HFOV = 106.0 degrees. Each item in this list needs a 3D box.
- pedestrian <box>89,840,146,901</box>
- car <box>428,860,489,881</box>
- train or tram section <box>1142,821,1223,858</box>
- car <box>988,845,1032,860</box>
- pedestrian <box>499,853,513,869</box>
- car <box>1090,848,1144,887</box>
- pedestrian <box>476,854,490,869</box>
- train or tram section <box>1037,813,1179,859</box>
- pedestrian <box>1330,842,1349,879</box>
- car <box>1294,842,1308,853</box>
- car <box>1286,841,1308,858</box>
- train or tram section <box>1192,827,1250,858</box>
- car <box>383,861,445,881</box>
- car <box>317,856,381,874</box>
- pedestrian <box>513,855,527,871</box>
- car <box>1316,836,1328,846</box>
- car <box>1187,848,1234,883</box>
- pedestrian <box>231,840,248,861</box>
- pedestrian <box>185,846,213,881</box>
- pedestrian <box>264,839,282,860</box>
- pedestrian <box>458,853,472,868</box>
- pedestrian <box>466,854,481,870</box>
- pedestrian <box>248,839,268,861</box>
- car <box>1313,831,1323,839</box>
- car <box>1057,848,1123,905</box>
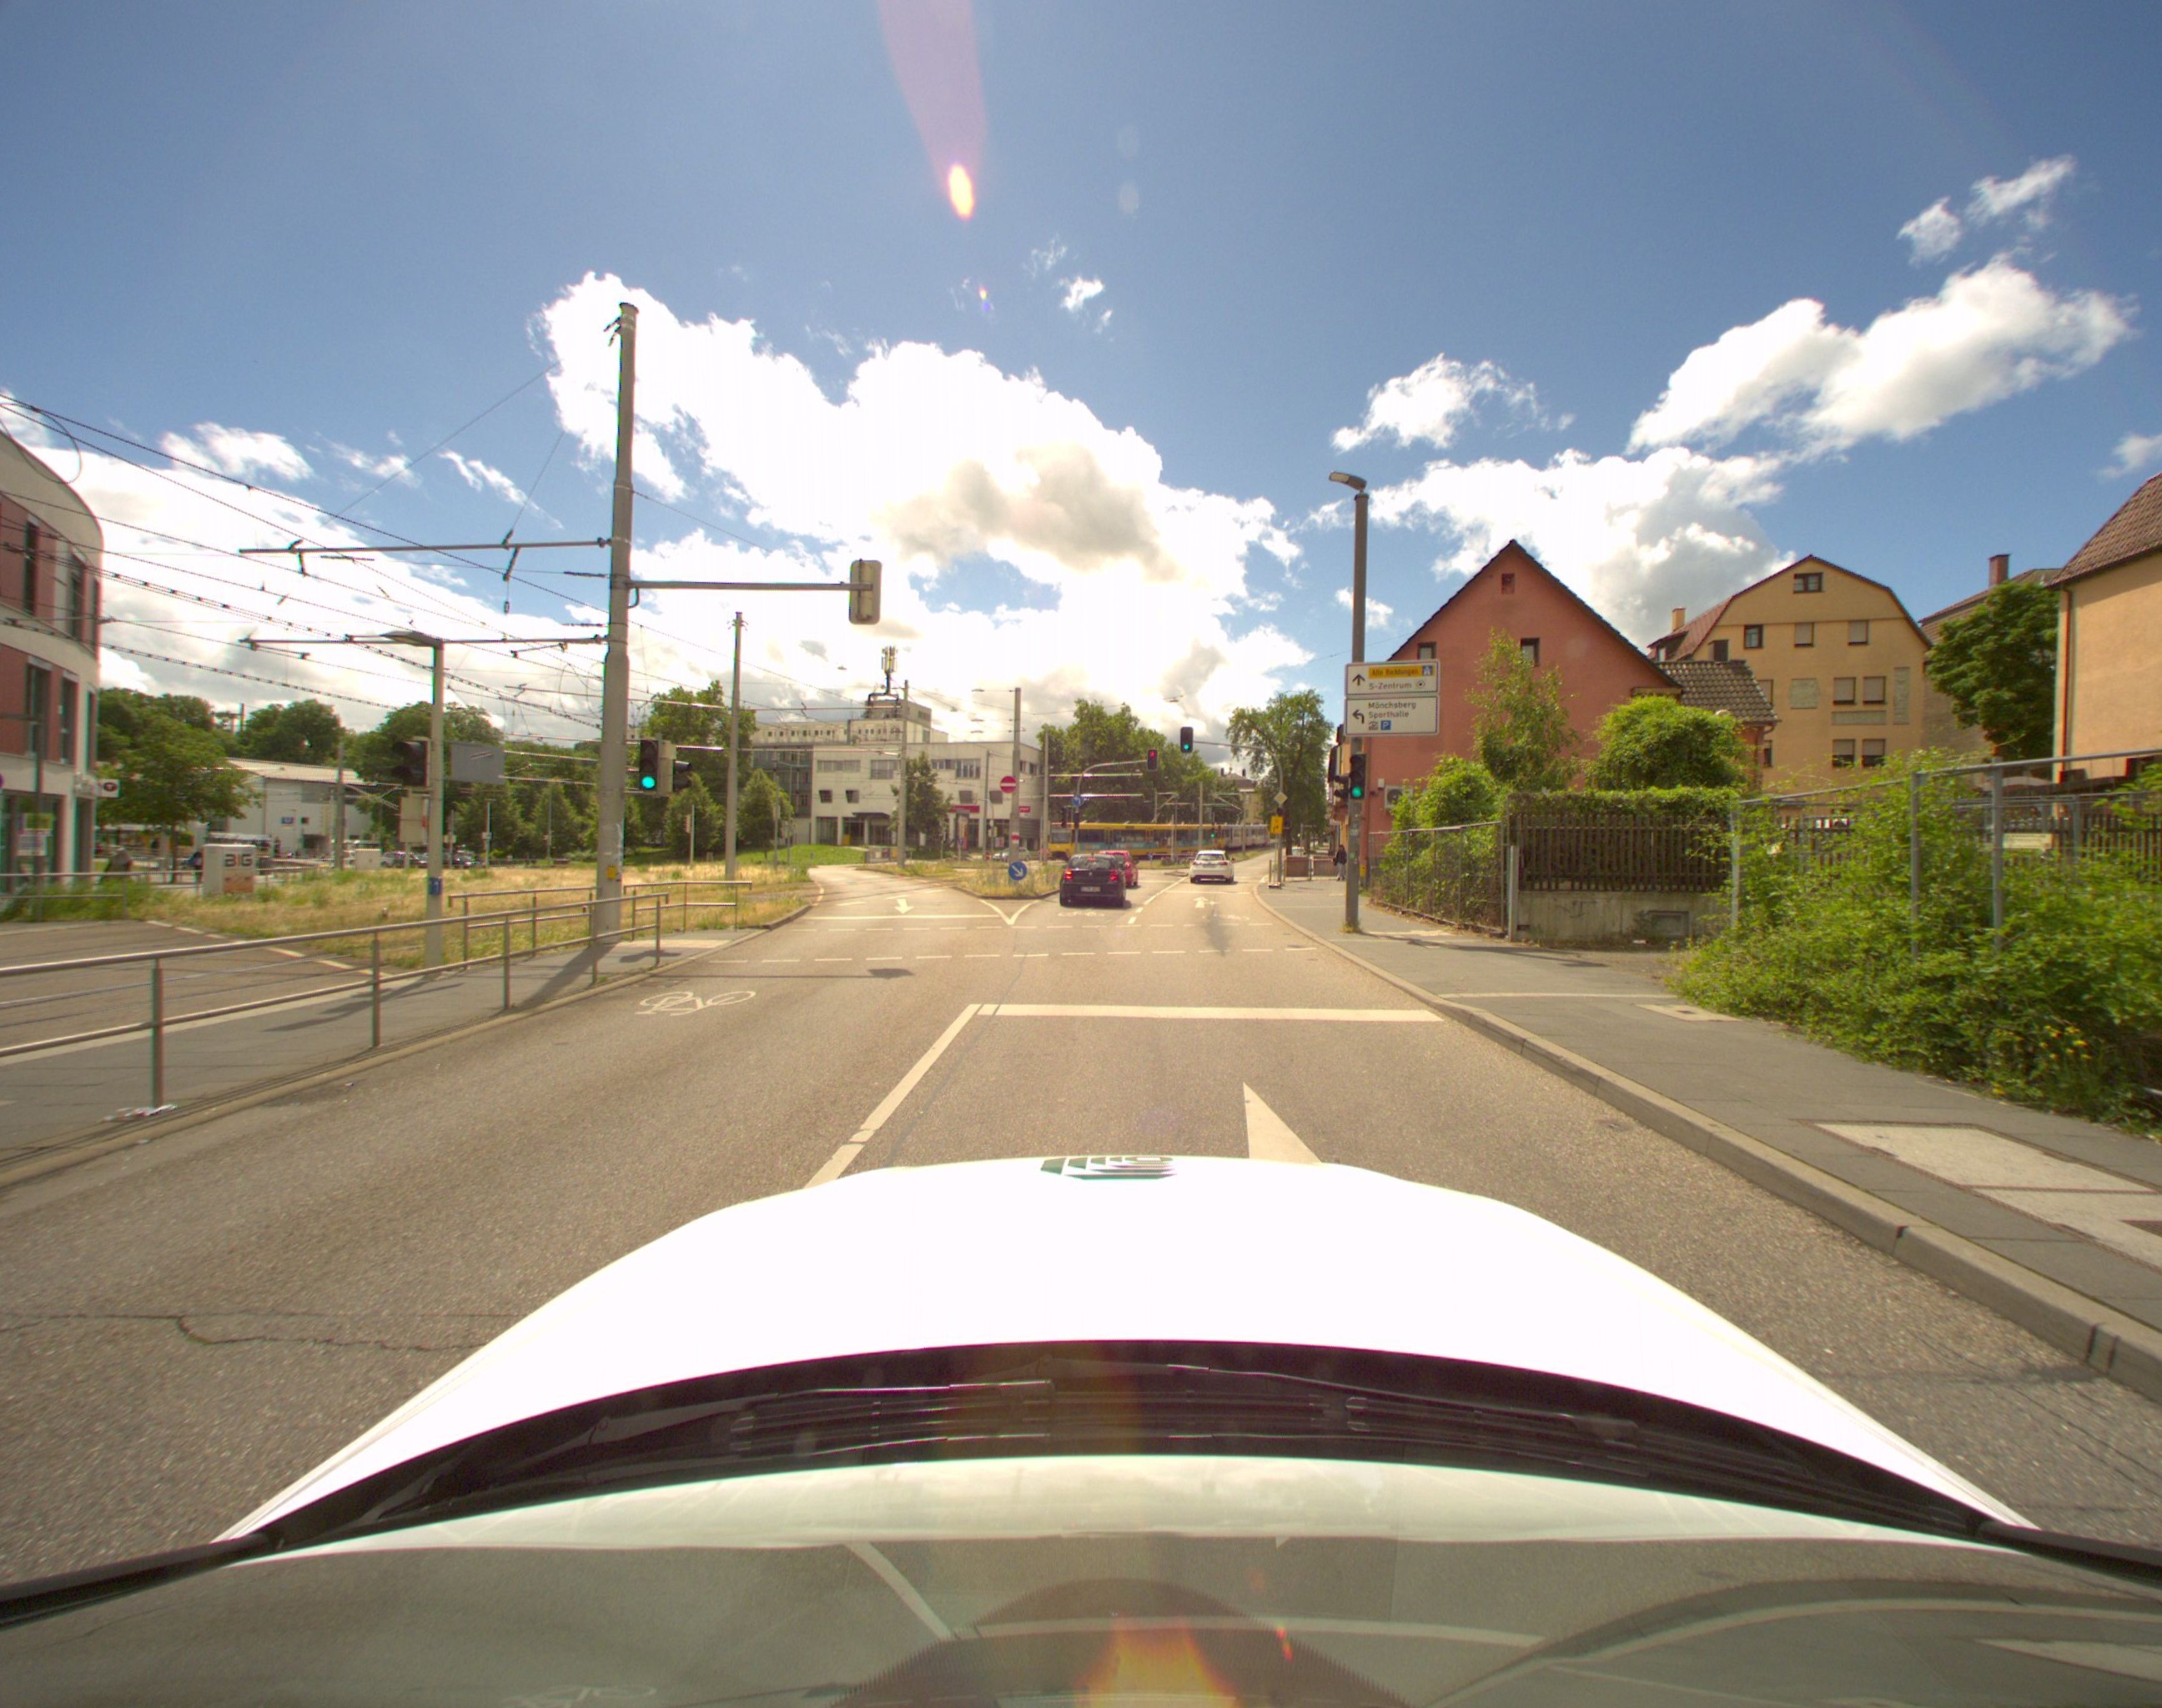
[{"bbox_3d":[-31.719,0.533,26.821,0.867,1.968,1.105,0,-1,-30],"label":"pedestrian"},{"bbox_3d":[-54.449,1.397,71.245,4.194,1.791,2.031,-1,0,15],"label":"car"},{"bbox_3d":[12.161,-1.476,94.441,3.716,3.829,20.260,-1,-1,23],"label":"train or tram section"},{"bbox_3d":[-6.873,-0.132,79.438,1.866,1.417,4.023,-1,-1,44],"label":"car"},{"bbox_3d":[-59.318,0.734,84.085,0.808,1.576,0.844,0,1,9],"label":"pedestrian"},{"bbox_3d":[1.519,0.486,32.853,1.615,1.473,4.012,0,1,10],"label":"car"},{"bbox_3d":[-61.874,0.754,84.227,0.808,1.576,0.844,0,1,9],"label":"pedestrian"},{"bbox_3d":[3.173,-1.529,78.154,3.713,3.919,19.016,-1,-1,35],"label":"train or tram section"},{"bbox_3d":[11.612,0.269,36.619,0.758,1.642,0.781,0,1,15],"label":"pedestrian"},{"bbox_3d":[36.053,-1.064,133.332,1.895,1.858,3.755,0,1,18],"label":"car"},{"bbox_3d":[20.330,-0.395,76.577,1.773,1.596,4.018,-1,-1,17],"label":"car"},{"bbox_3d":[19.789,-1.446,112.915,3.717,3.879,20.743,-1,-1,22],"label":"train or tram section"},{"bbox_3d":[-56.197,1.390,68.607,4.210,1.651,1.926,-1,-1,15],"label":"car"},{"bbox_3d":[-62.828,0.939,69.907,4.444,1.555,1.946,-1,-1,15],"label":"car"},{"bbox_3d":[-56.593,0.920,82.124,0.808,1.576,0.844,0,1,9],"label":"pedestrian"},{"bbox_3d":[47.943,-2.541,161.913,2.106,1.858,3.755,0,1,18],"label":"car"},{"bbox_3d":[6.017,0.485,37.464,1.802,1.468,4.016,0,1,14],"label":"car"},{"bbox_3d":[-68.050,-0.265,65.856,0.666,1.684,0.760,0,0,18],"label":"pedestrian"},{"bbox_3d":[-41.746,0.438,38.545,0.723,1.625,0.870,-1,-1,41],"label":"pedestrian"},{"bbox_3d":[-64.952,-0.395,65.495,0.611,1.691,0.841,0,0,18],"label":"pedestrian"},{"bbox_3d":[-63.905,0.655,84.511,0.808,1.576,0.844,0,1,9],"label":"pedestrian"},{"bbox_3d":[-62.106,0.784,83.247,0.808,1.576,0.844,0,1,9],"label":"pedestrian"},{"bbox_3d":[-66.430,-0.302,65.719,0.789,1.731,0.841,0,0,18],"label":"pedestrian"},{"bbox_3d":[65.676,-5.343,225.598,1.975,2.014,4.023,-1,-1,26],"label":"car"},{"bbox_3d":[0.300,0.596,23.030,1.694,1.452,4.001,0,-1,2],"label":"car"}]
